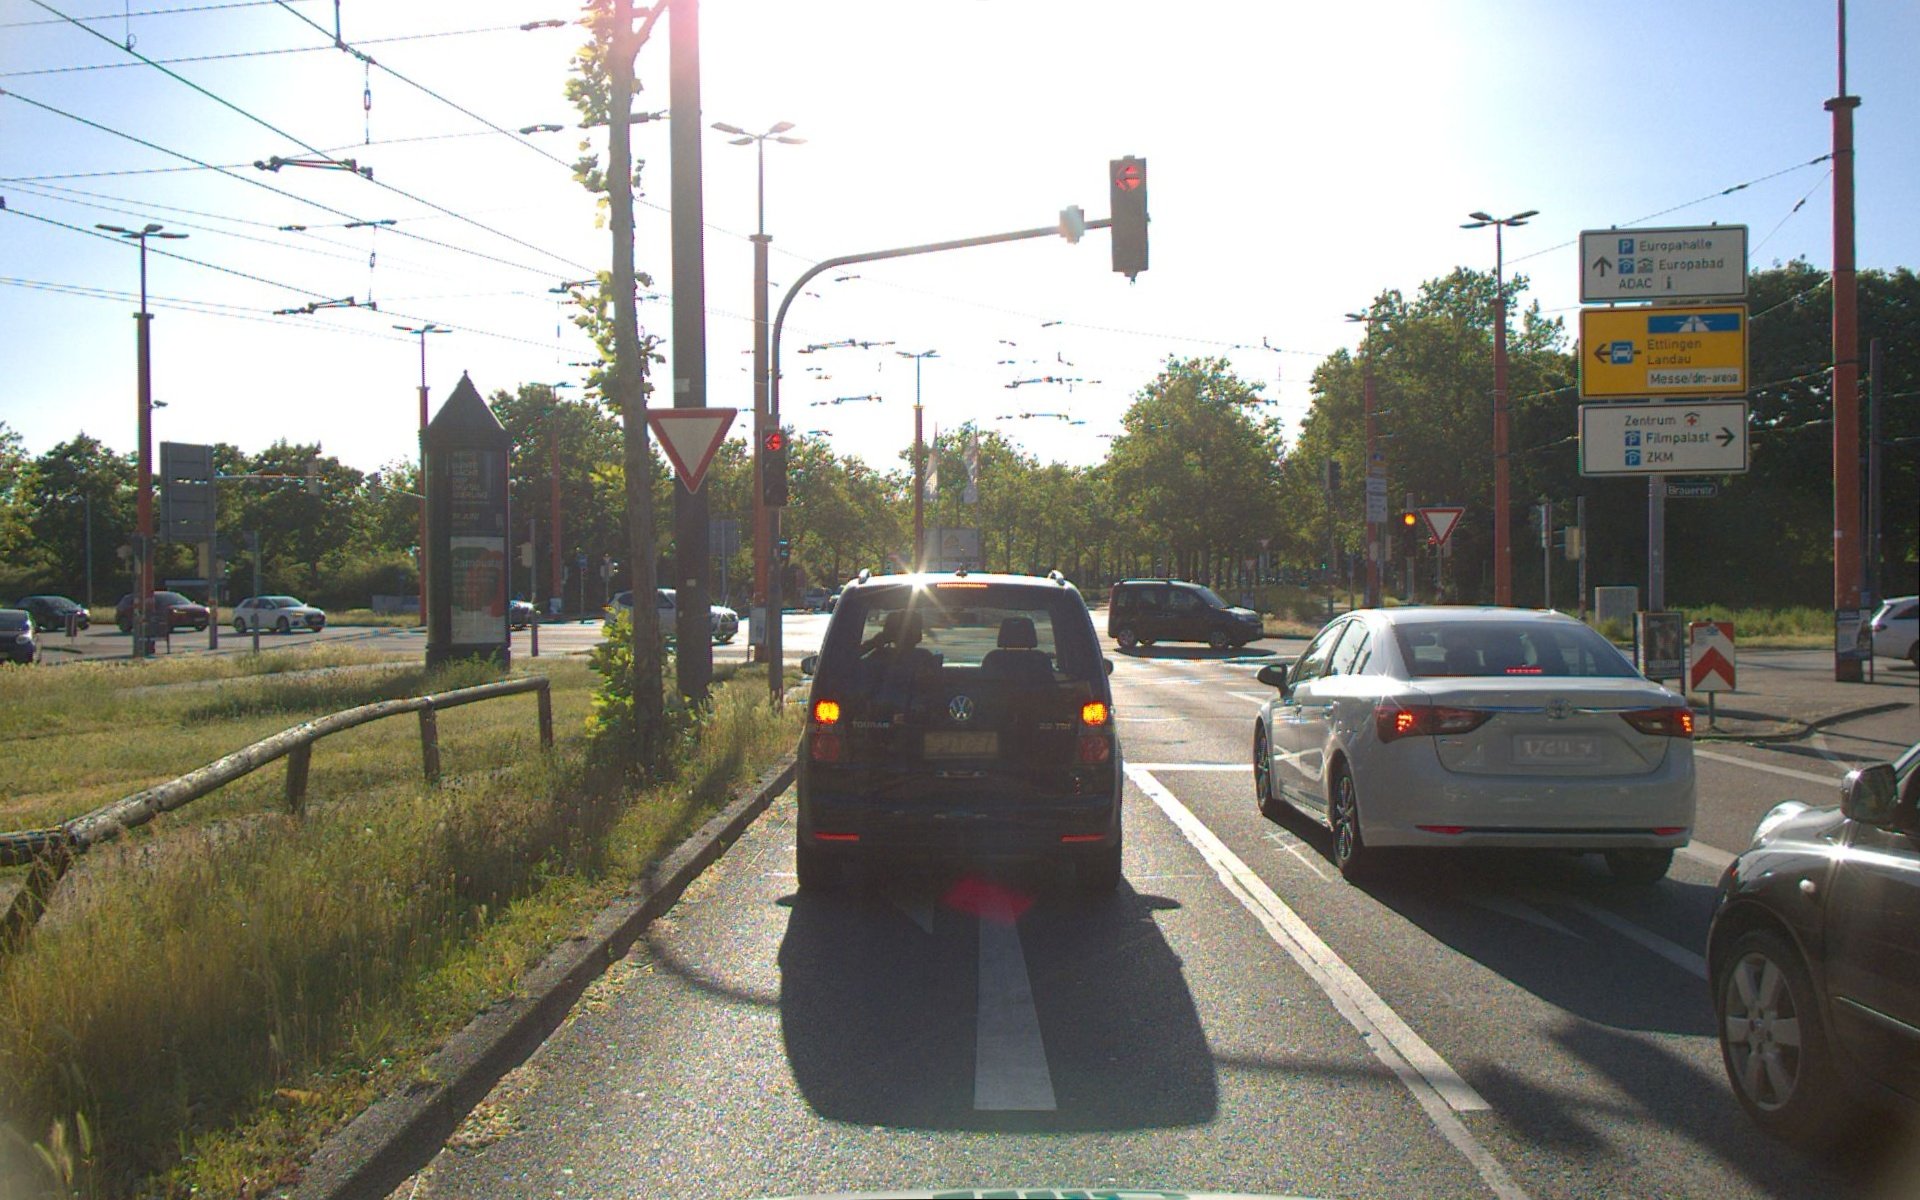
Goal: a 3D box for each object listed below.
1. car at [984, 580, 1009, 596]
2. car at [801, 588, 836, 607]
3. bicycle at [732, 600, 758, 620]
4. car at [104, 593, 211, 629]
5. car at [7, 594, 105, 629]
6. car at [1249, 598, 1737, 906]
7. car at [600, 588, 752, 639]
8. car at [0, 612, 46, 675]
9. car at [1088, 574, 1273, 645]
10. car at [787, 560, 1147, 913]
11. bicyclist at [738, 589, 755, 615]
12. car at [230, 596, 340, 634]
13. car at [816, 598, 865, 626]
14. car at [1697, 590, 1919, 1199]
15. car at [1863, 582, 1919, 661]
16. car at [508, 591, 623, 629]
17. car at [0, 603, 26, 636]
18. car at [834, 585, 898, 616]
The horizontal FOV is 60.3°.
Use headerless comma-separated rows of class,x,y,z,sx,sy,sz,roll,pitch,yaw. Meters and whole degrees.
car,4.066,-1.349,183.155,1.951,1.714,4.833,0,0,11
car,-10.069,-0.166,117.609,1.622,1.333,3.818,0,0,9
bicycle,-12.226,0.567,94.213,0.719,1.109,1.962,0,0,18
car,-34.250,0.446,70.567,4.275,1.489,1.912,0,0,27
car,-39.972,0.502,73.140,3.963,1.489,1.912,0,0,26
car,2.948,0.737,10.101,1.679,1.480,4.144,0,0,0
car,-9.229,0.422,53.734,4.687,1.626,1.912,0,0,27
car,-23.270,1.025,40.257,1.801,1.445,3.721,0,0,-29
car,6.027,0.257,45.316,4.687,1.868,1.912,0,0,27
car,0.006,0.641,9.857,1.702,1.670,3.999,0,0,-1
bicyclist,-12.195,0.092,94.433,0.678,1.483,0.875,0,0,17
car,-27.303,0.602,66.936,4.127,1.489,1.912,0,0,27
car,-7.493,0.755,104.124,1.951,1.714,4.833,0,0,10
car,3.127,0.740,3.502,1.525,1.532,3.515,0,0,-1
car,21.050,0.427,33.487,4.820,1.602,1.997,0,0,28
car,-15.727,0.374,66.108,4.124,1.489,1.913,0,0,-2
car,-45.047,0.884,75.764,4.143,1.489,1.913,0,0,26
car,-5.169,0.023,91.619,1.951,1.714,4.831,0,0,17
